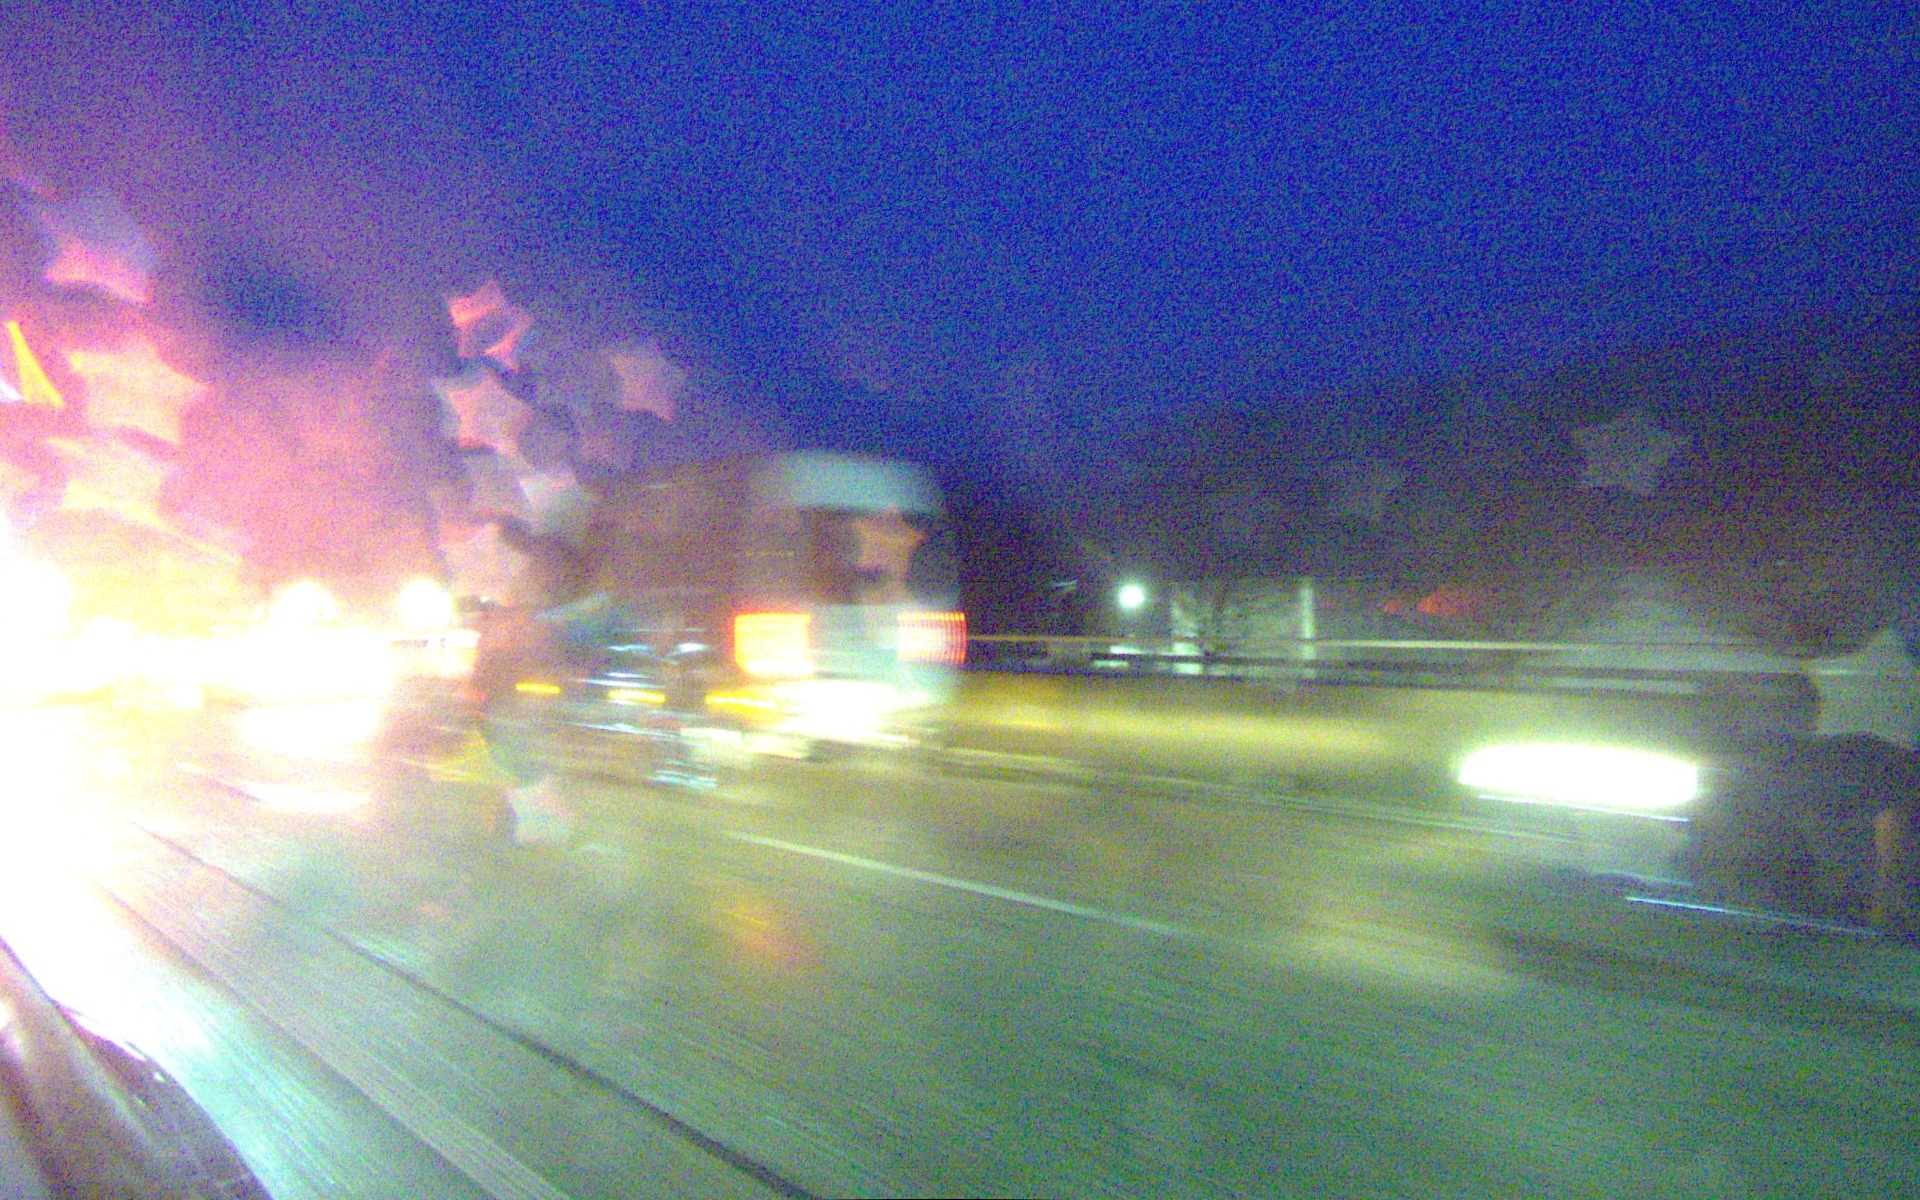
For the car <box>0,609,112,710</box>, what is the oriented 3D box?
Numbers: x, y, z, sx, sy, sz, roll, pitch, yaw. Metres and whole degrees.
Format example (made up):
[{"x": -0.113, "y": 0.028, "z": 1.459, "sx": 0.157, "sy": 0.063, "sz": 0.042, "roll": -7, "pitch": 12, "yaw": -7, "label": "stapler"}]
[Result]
[{"x": -17.269, "y": 1.029, "z": 18.592, "sx": 4.411, "sy": 1.642, "sz": 1.787, "roll": -1, "pitch": -1, "yaw": 39, "label": "car"}]

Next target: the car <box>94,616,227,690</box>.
[{"x": -18.197, "y": 1.149, "z": 22.984, "sx": 3.825, "sy": 1.519, "sz": 1.702, "roll": -1, "pitch": -1, "yaw": 41, "label": "car"}]

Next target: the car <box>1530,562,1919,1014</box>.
[{"x": 4.500, "y": 0.623, "z": 3.639, "sx": 3.985, "sy": 1.548, "sz": 1.859, "roll": -1, "pitch": -1, "yaw": 41, "label": "car"}]

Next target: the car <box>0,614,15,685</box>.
[{"x": -23.541, "y": 1.152, "z": 23.520, "sx": 4.594, "sy": 1.587, "sz": 1.825, "roll": -2, "pitch": -1, "yaw": 41, "label": "car"}]

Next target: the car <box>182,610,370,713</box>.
[{"x": -12.234, "y": 1.007, "z": 17.993, "sx": 4.309, "sy": 1.600, "sz": 1.703, "roll": -1, "pitch": -1, "yaw": 41, "label": "car"}]

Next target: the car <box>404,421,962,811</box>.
[{"x": -3.050, "y": 0.158, "z": 9.914, "sx": 6.235, "sy": 2.728, "sz": 2.101, "roll": -1, "pitch": -1, "yaw": 40, "label": "car"}]
